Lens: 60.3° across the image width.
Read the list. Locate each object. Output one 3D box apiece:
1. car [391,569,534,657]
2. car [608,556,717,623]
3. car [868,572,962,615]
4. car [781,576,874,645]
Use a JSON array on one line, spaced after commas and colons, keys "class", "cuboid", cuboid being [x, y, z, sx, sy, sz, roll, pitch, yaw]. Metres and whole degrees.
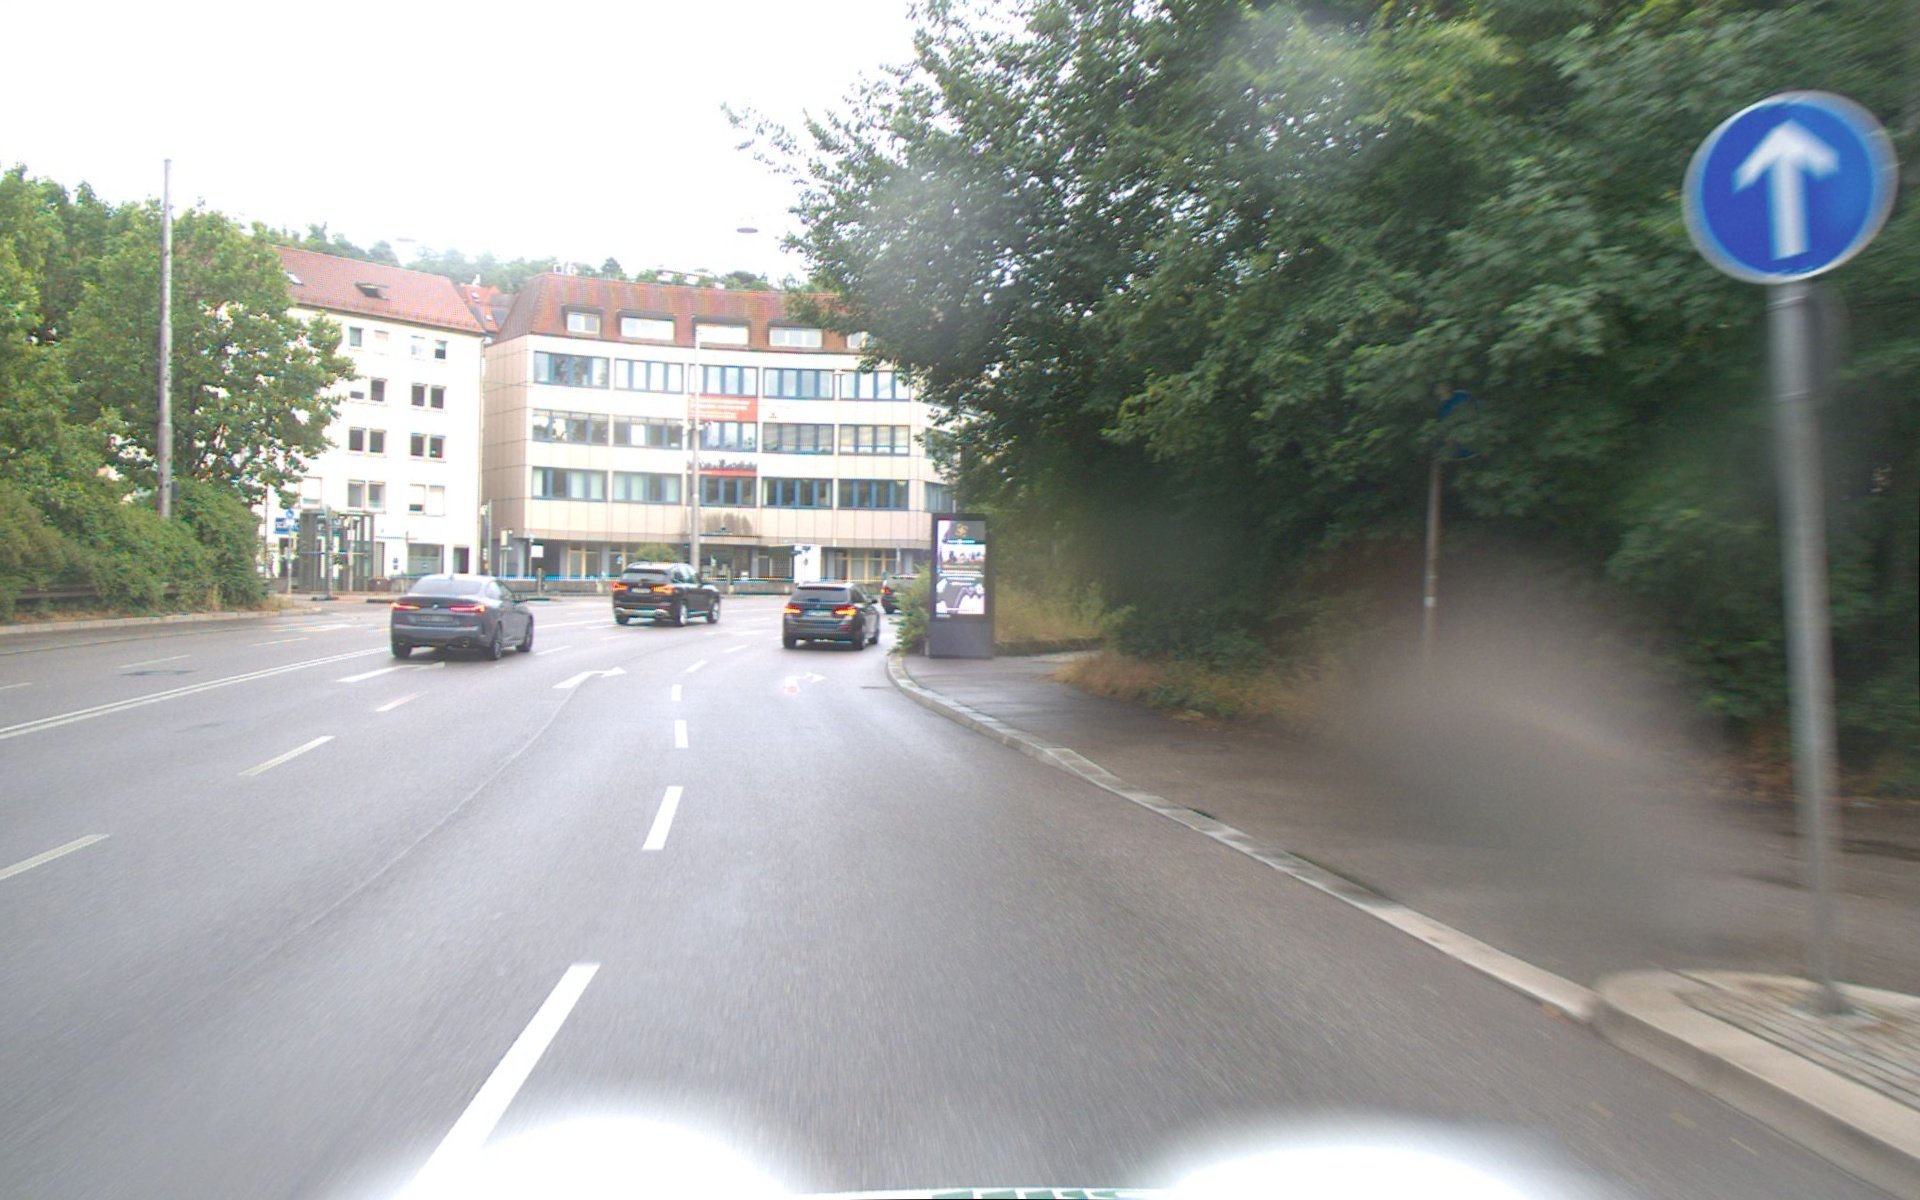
[{"class": "car", "cuboid": [-8.829, 0.222, 29.671, 1.757, 1.451, 4.377, 0, 0, -7]}, {"class": "car", "cuboid": [-8.013, -0.281, 44.924, 1.860, 1.723, 4.003, 0, 0, 6]}, {"class": "car", "cuboid": [-1.582, -0.253, 60.063, 1.755, 1.450, 4.613, 1, 1, 22]}, {"class": "car", "cuboid": [-2.904, 0.221, 36.972, 1.919, 1.451, 4.123, 0, 0, -3]}]
